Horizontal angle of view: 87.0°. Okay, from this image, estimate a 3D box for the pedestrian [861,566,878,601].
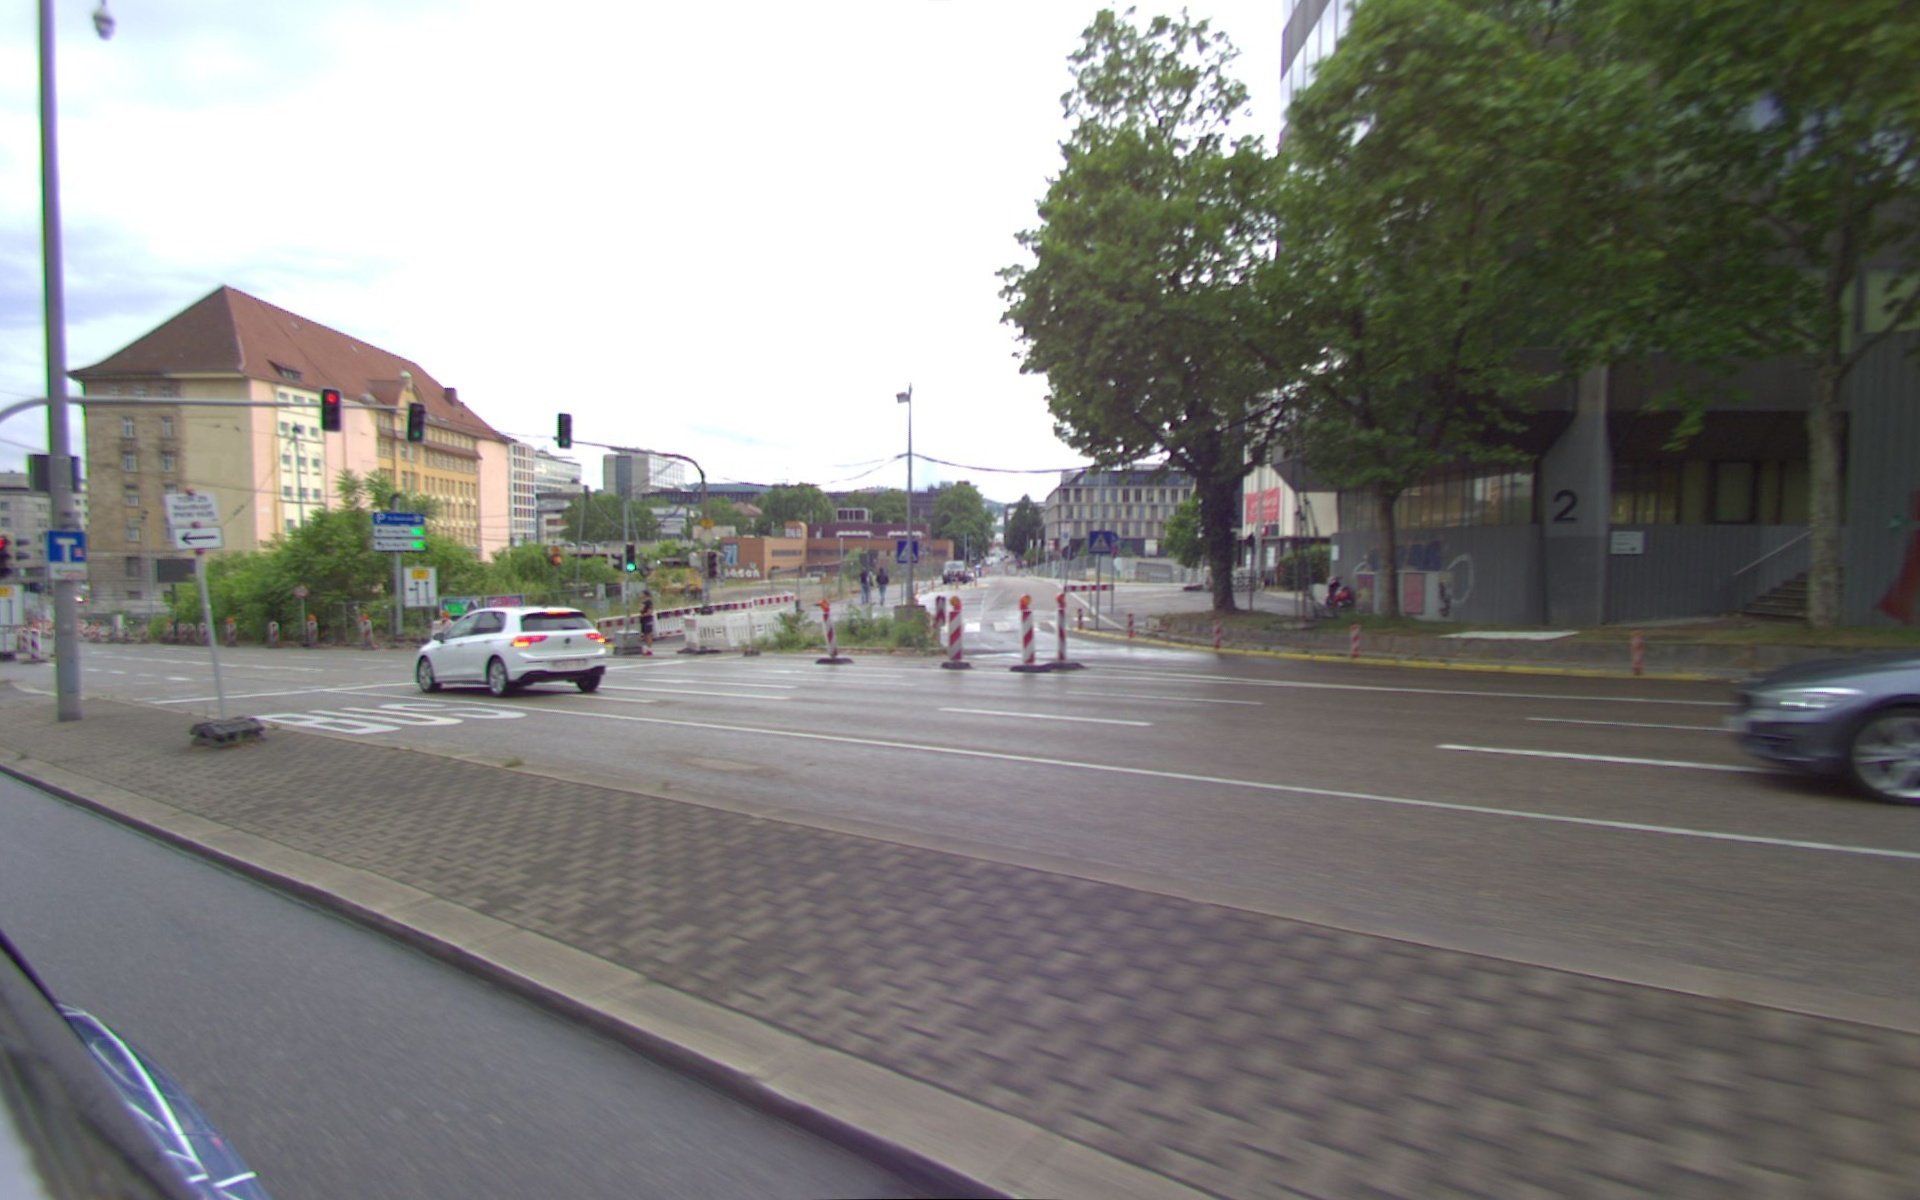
[{"bbox_3d":[-4.841,-0.876,54.046,0.758,1.866,0.784,-2,0,3],"label":"pedestrian"}]

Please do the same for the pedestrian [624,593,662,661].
[{"bbox_3d":[-9.186,0.760,29.313,0.744,1.894,0.735,1,2,30],"label":"pedestrian"}]

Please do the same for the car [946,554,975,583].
[{"bbox_3d":[0.067,-2.331,74.129,1.973,2.028,3.997,0,2,3],"label":"car"}]

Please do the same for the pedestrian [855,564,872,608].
[{"bbox_3d":[-4.766,-0.695,49.956,0.737,2.187,0.701,0,2,4],"label":"pedestrian"}]

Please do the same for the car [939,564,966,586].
[{"bbox_3d":[-0.593,-2.076,83.264,1.973,1.718,3.997,0,2,3],"label":"car"}]

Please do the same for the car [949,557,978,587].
[{"bbox_3d":[0.253,-1.910,68.312,1.790,1.980,3.997,0,2,3],"label":"car"}]

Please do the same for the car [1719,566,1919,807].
[{"bbox_3d":[7.506,0.484,6.201,4.322,1.459,1.795,-2,-1,30],"label":"car"}]

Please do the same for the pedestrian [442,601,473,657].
[{"bbox_3d":[-18.053,1.029,36.349,0.742,1.936,0.753,1,2,42],"label":"pedestrian"}]

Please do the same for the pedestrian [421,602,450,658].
[{"bbox_3d":[-18.561,1.059,35.817,0.775,1.915,0.665,1,2,42],"label":"pedestrian"}]

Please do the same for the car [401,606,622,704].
[{"bbox_3d":[-7.884,0.902,17.603,4.355,1.472,1.743,-2,-1,39],"label":"car"}]

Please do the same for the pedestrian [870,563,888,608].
[{"bbox_3d":[-3.952,-0.725,49.675,0.737,2.156,0.742,-1,2,4],"label":"pedestrian"}]

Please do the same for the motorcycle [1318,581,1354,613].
[{"bbox_3d":[13.032,-0.123,35.110,0.559,1.045,2.180,-2,1,5],"label":"motorcycle"}]
